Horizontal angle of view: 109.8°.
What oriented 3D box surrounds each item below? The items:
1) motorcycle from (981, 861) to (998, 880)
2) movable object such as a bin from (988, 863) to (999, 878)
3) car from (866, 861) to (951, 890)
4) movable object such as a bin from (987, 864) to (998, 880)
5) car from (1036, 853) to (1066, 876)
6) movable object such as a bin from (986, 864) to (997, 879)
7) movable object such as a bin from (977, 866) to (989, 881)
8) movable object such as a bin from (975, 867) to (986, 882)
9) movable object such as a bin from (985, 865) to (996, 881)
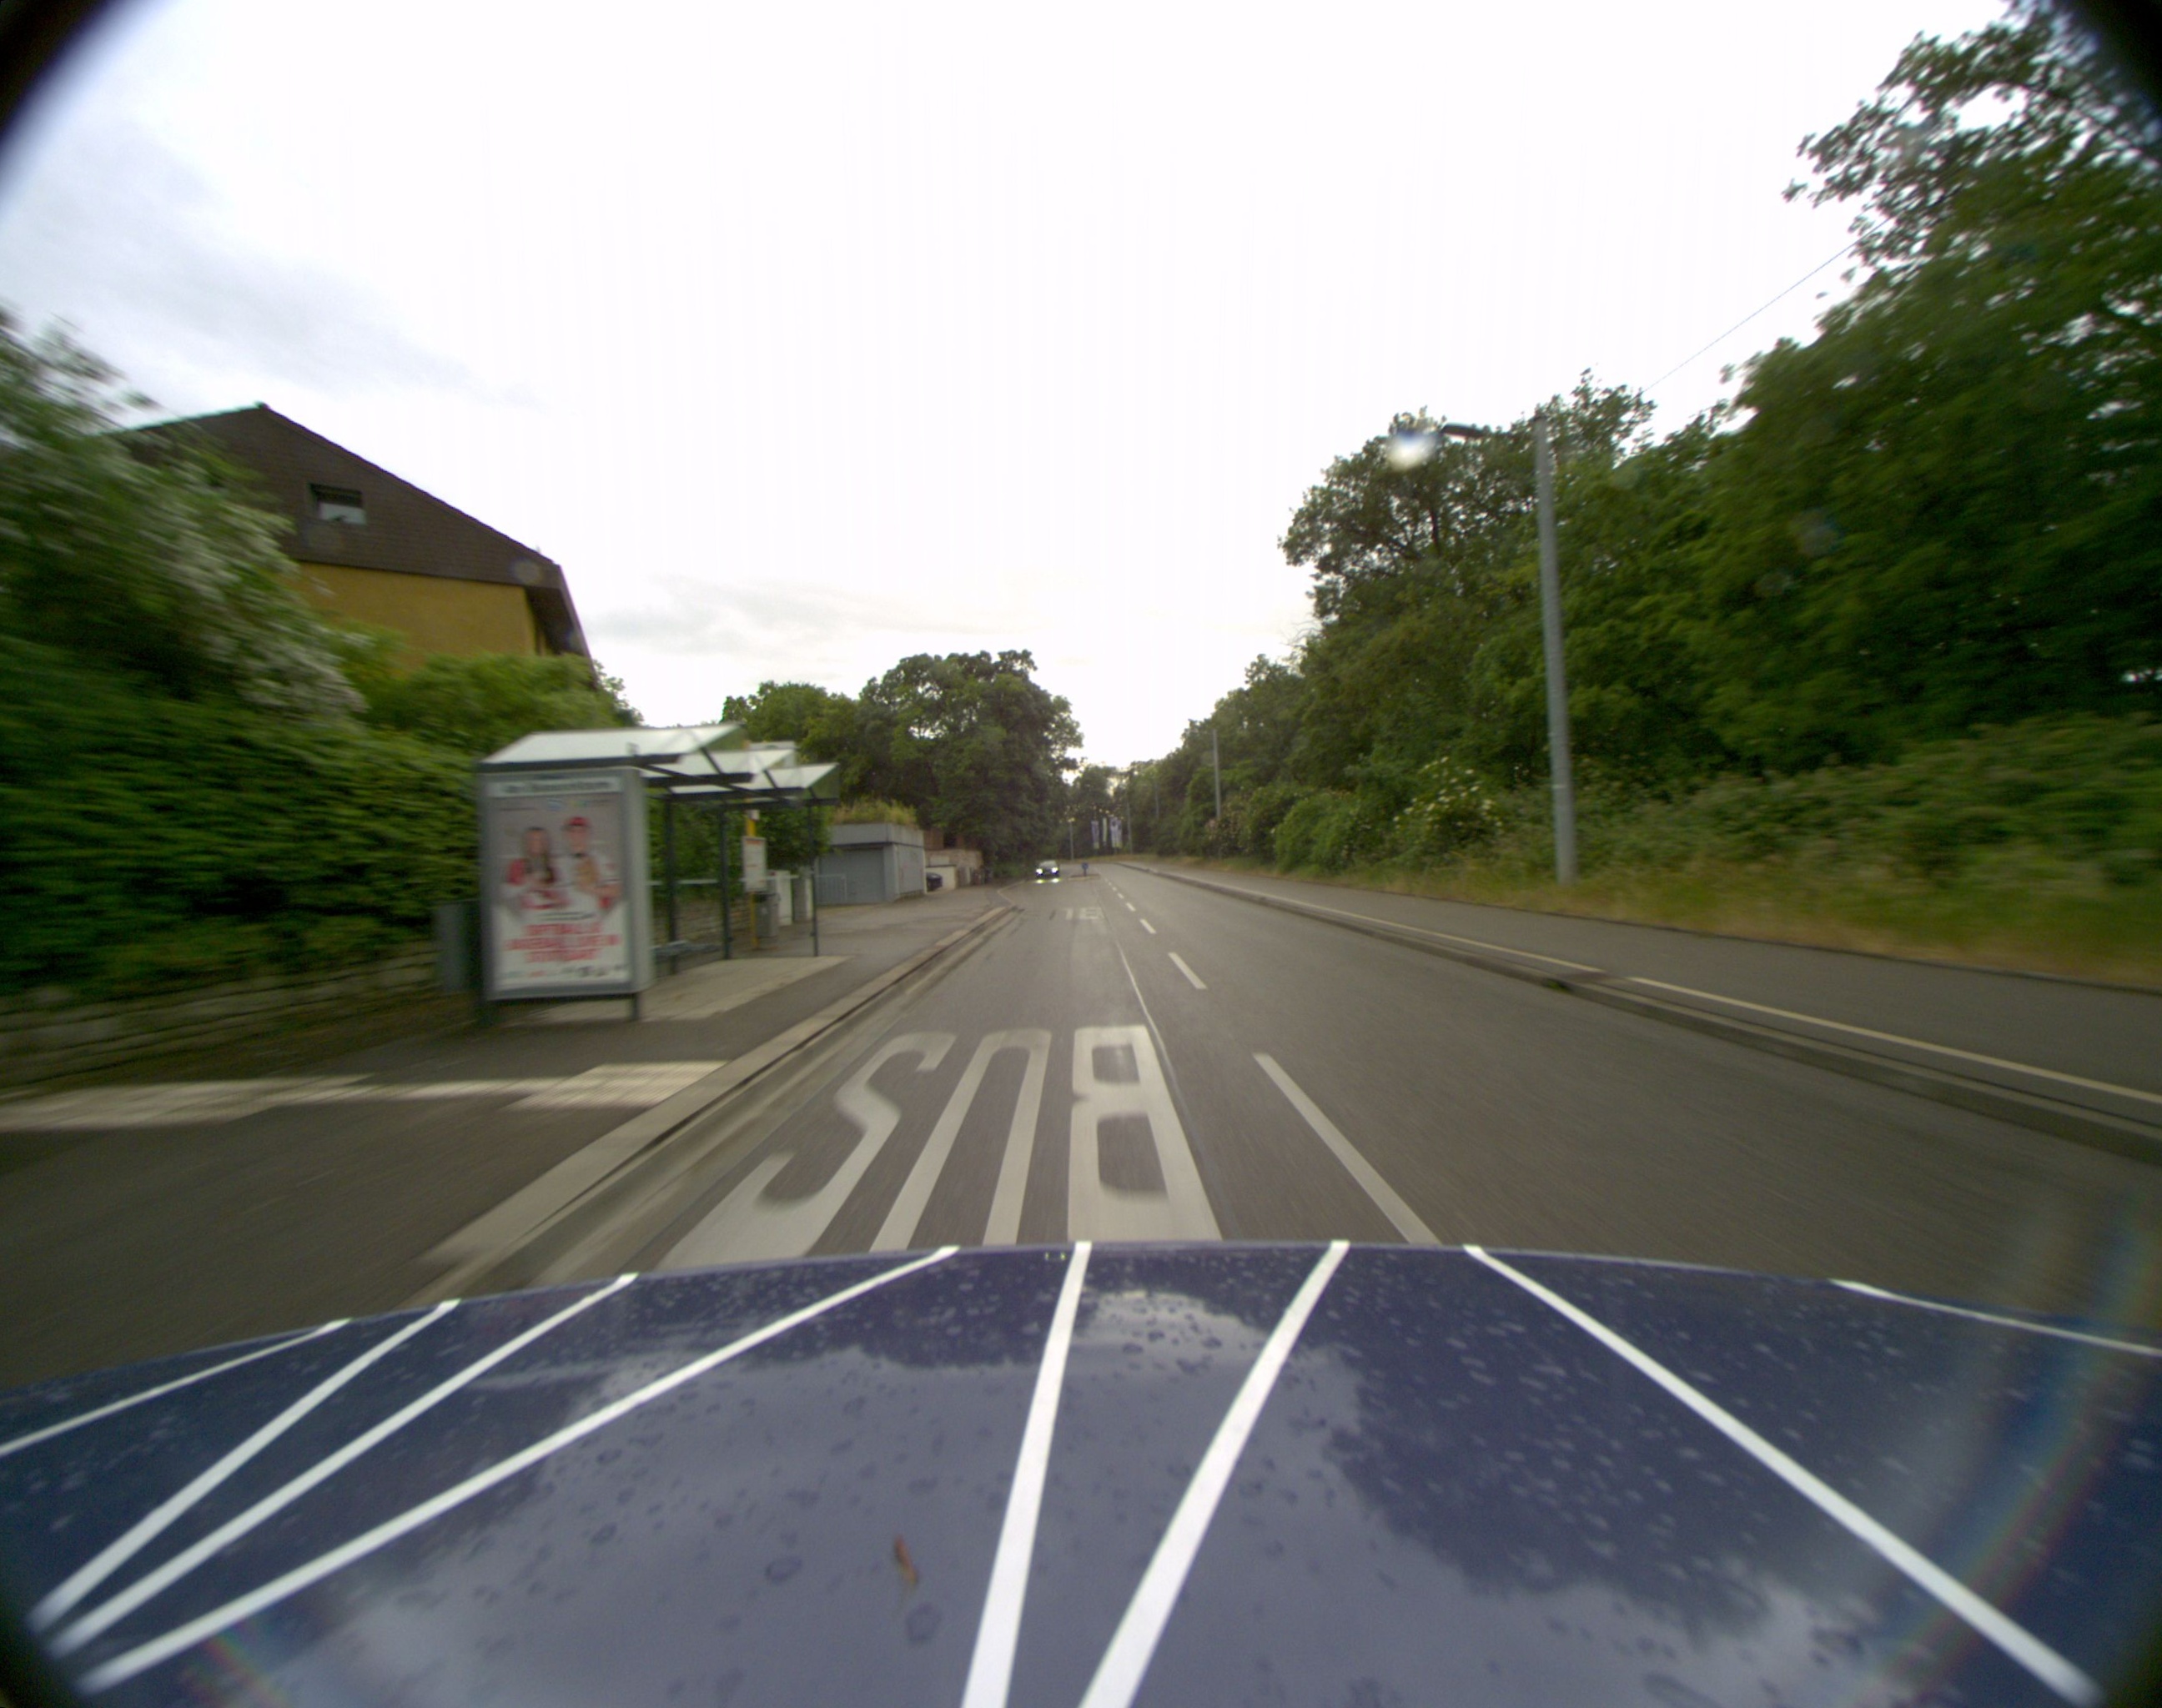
[{"bbox_3d":[-6.337,1.156,52.748,0.777,1.237,2.013,-4,0,1],"label":"motorcycle"},{"bbox_3d":[-6.520,1.243,56.586,0.666,1.062,0.701,-4,1,1],"label":"movable object such as a bin"},{"bbox_3d":[-9.485,1.169,41.989,4.228,1.498,1.895,-1,0,0],"label":"car"},{"bbox_3d":[-6.409,1.304,55.050,0.666,1.062,0.659,-4,1,1],"label":"movable object such as a bin"},{"bbox_3d":[-2.335,0.786,60.730,1.998,1.714,4.001,-1,0,3],"label":"car"},{"bbox_3d":[-6.553,1.297,55.783,0.666,1.062,0.701,-4,1,1],"label":"movable object such as a bin"},{"bbox_3d":[-6.575,1.311,51.154,0.666,0.999,0.659,-4,1,1],"label":"movable object such as a bin"},{"bbox_3d":[-6.647,1.364,50.413,0.570,0.931,0.549,-4,1,1],"label":"movable object such as a bin"},{"bbox_3d":[-6.463,1.337,54.307,0.666,1.062,0.659,-4,1,1],"label":"movable object such as a bin"}]
